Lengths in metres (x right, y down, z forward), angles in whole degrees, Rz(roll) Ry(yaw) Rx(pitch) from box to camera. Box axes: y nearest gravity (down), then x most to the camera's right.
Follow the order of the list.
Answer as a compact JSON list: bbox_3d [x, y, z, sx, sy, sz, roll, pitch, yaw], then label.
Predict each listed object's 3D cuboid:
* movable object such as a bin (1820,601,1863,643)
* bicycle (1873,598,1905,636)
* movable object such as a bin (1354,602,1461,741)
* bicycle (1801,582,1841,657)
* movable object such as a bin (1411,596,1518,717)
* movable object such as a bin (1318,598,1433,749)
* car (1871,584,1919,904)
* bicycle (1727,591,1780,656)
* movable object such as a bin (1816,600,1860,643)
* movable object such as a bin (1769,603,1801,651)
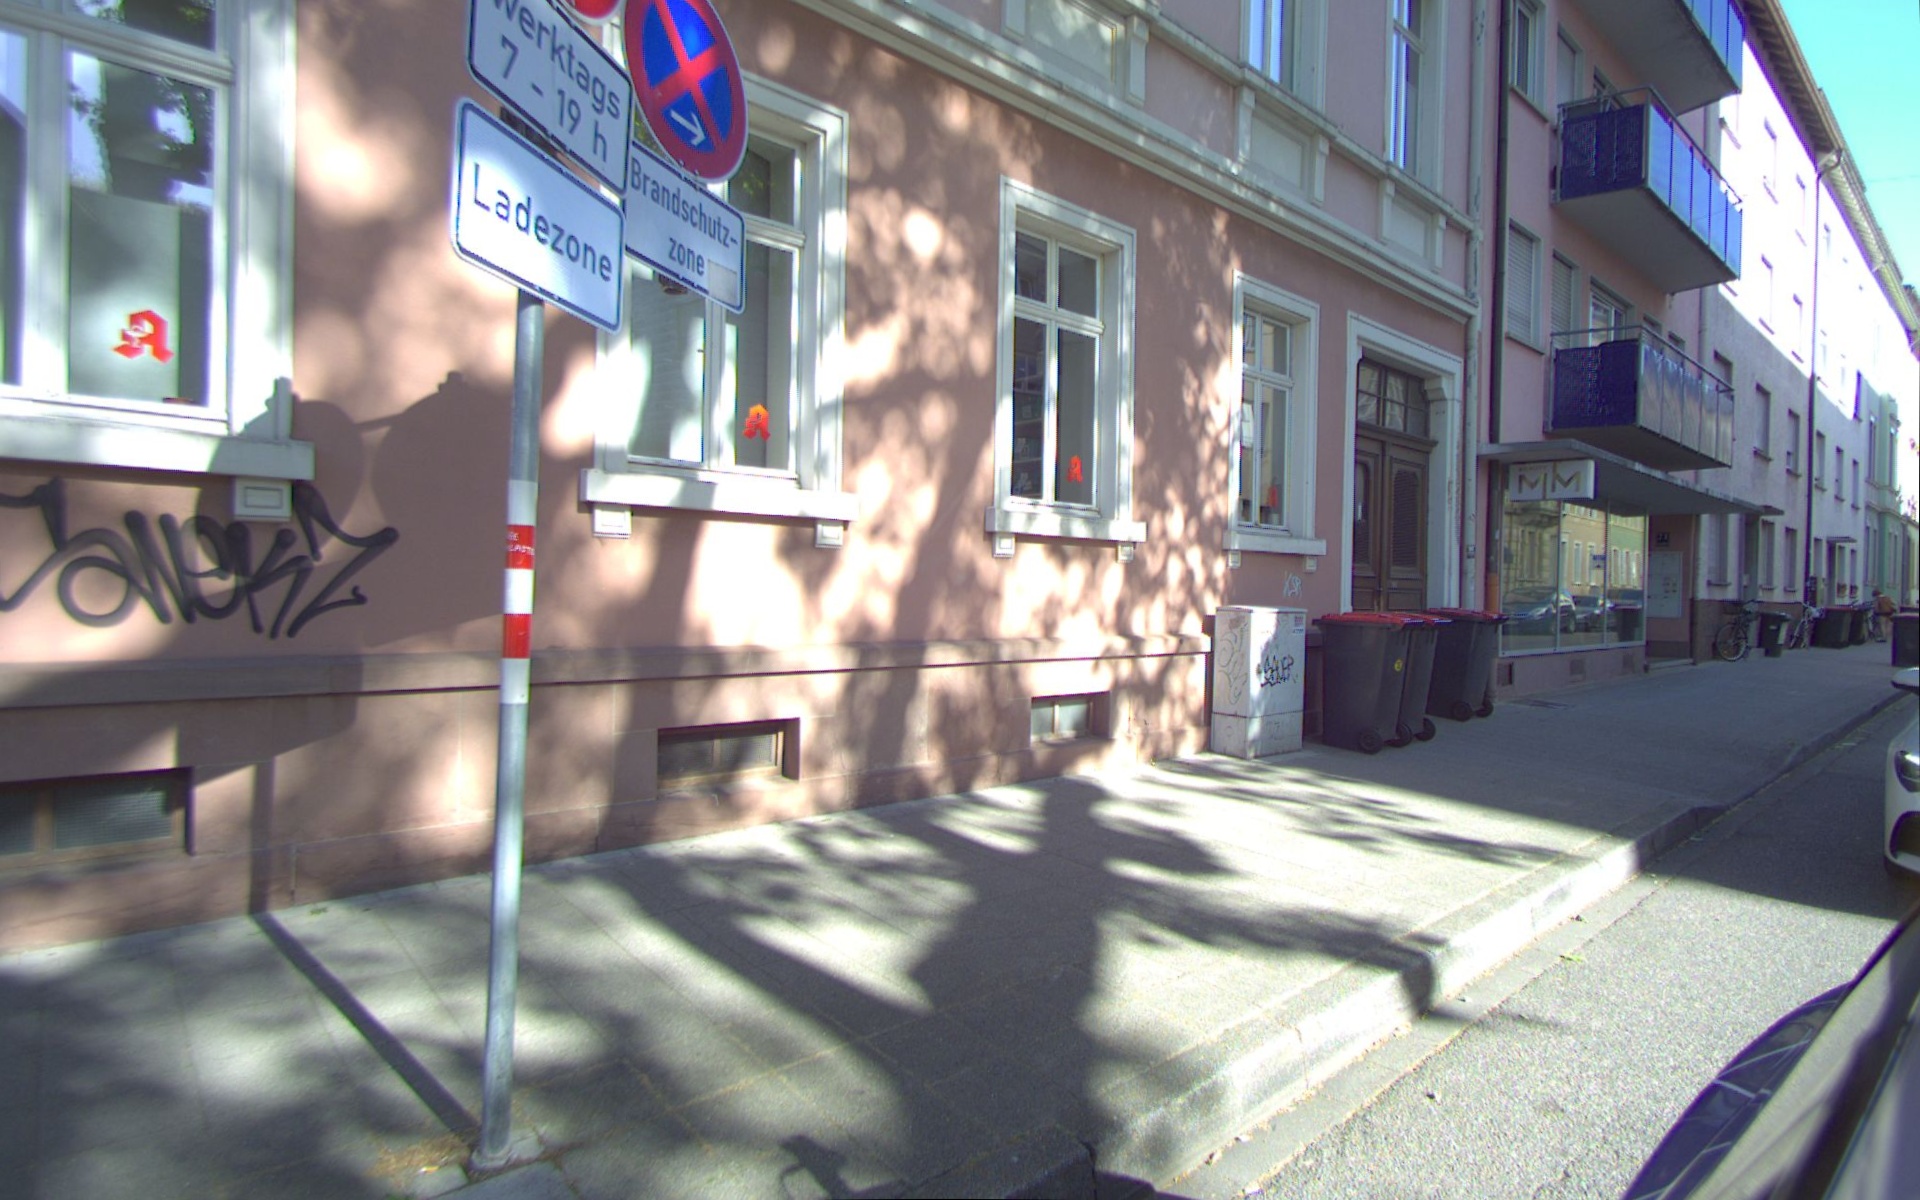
[{"bbox_3d":[22.457,0.549,25.794,0.537,1.014,0.716,0,4,-43],"label":"movable object such as a bin"},{"bbox_3d":[28.199,0.513,30.709,1.899,1.110,0.489,0,1,-41],"label":"bicycle"},{"bbox_3d":[3.749,0.572,8.484,0.601,1.071,0.570,0,4,-43],"label":"movable object such as a bin"},{"bbox_3d":[20.747,0.449,24.368,2.070,1.757,0.402,0,1,-41],"label":"bicycle"},{"bbox_3d":[4.975,0.530,9.979,0.608,1.097,0.717,0,4,-43],"label":"movable object such as a bin"},{"bbox_3d":[3.308,0.554,8.059,0.643,1.097,0.570,0,4,-43],"label":"movable object such as a bin"},{"bbox_3d":[6.624,0.684,5.567,4.483,1.475,1.861,0,1,-41],"label":"car"},{"bbox_3d":[14.999,0.427,19.120,1.989,1.165,0.402,0,1,-41],"label":"bicycle"},{"bbox_3d":[22.033,0.538,25.403,0.537,1.014,0.716,0,4,-43],"label":"movable object such as a bin"},{"bbox_3d":[16.964,0.557,20.820,0.297,0.951,0.416,0,4,-43],"label":"movable object such as a bin"}]
